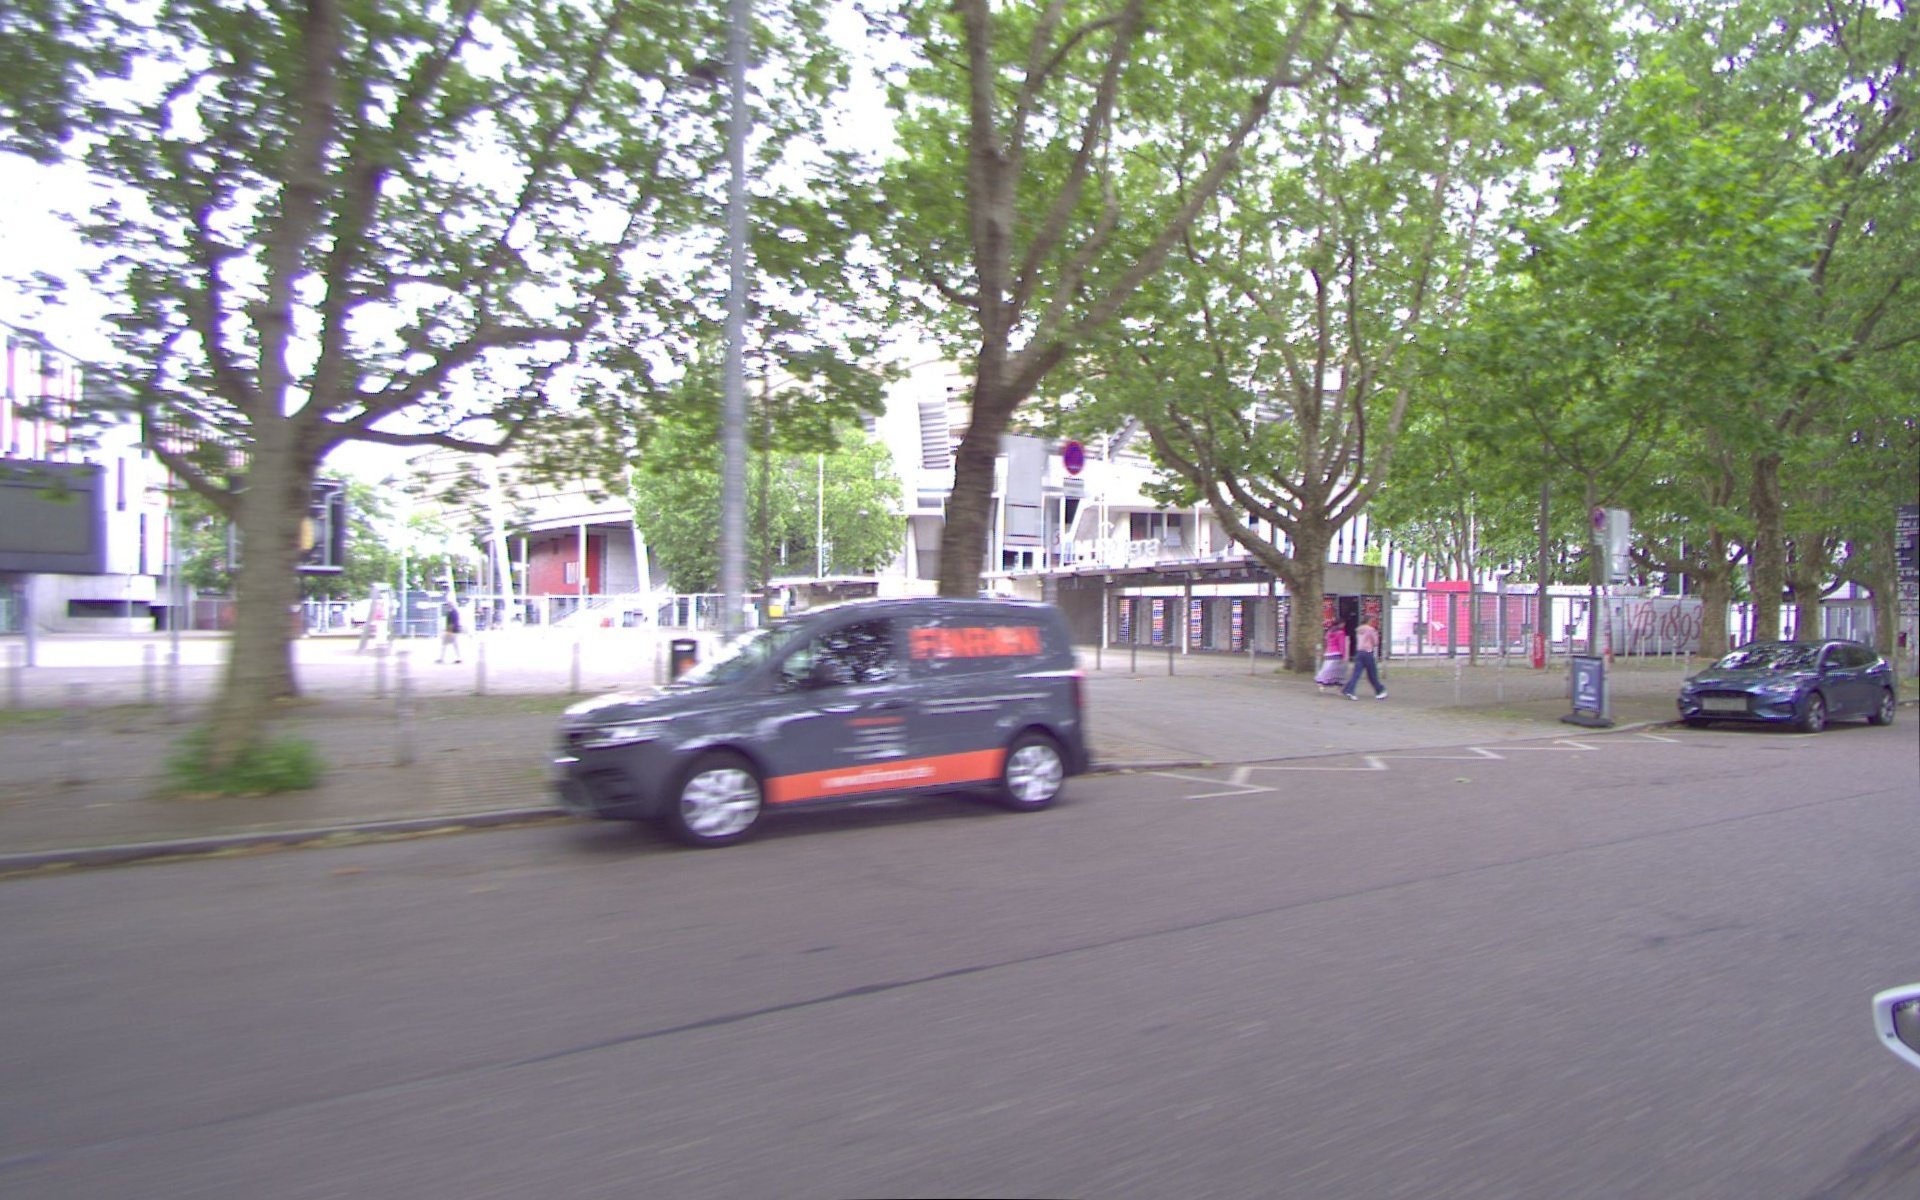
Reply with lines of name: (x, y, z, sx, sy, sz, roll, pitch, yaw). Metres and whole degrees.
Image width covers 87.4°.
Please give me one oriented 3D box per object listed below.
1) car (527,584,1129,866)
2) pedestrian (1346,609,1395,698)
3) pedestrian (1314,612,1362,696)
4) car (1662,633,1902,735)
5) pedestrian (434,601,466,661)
car: (-0.994, 0.861, 8.346, 4.585, 1.773, 1.940, 1, -3, -31)
pedestrian: (8.459, 1.093, 20.708, 0.755, 1.793, 0.577, 1, -1, -15)
pedestrian: (8.026, 1.140, 21.357, 0.755, 1.765, 0.575, 1, -1, -15)
car: (14.044, 1.329, 17.103, 4.520, 1.506, 1.716, 1, -1, -30)
pedestrian: (-14.819, 0.897, 29.196, 0.798, 1.714, 0.722, 1, -1, -26)
